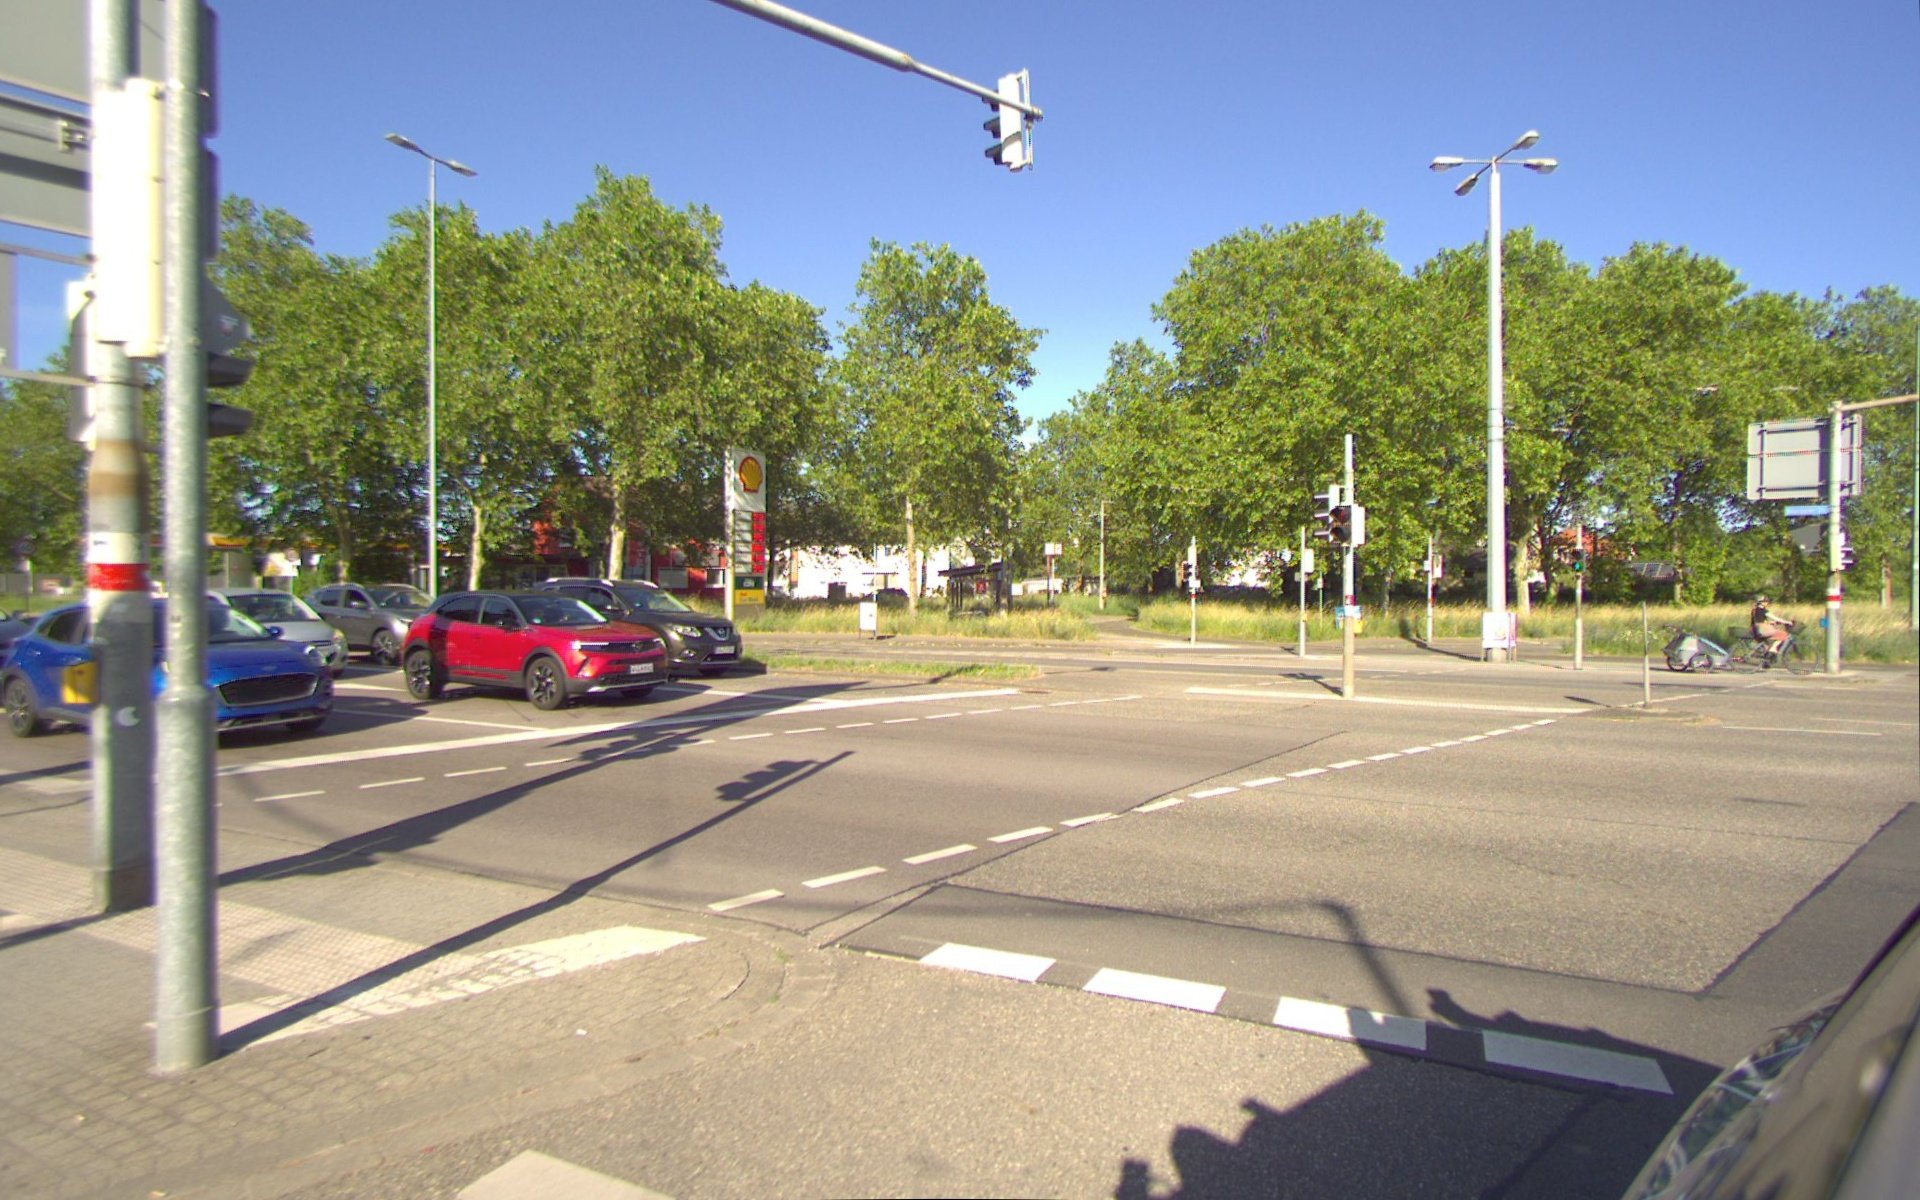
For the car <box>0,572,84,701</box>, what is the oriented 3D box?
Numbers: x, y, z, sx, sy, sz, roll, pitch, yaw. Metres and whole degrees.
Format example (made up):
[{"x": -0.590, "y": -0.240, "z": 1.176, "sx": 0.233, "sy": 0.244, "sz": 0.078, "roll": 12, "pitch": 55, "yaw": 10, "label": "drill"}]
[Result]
[{"x": -14.560, "y": 0.460, "z": 14.178, "sx": 4.130, "sy": 1.699, "sz": 1.919, "roll": 1, "pitch": 0, "yaw": 24, "label": "car"}]

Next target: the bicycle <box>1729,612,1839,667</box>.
[{"x": 17.972, "y": 0.840, "z": 22.111, "sx": 1.806, "sy": 1.133, "sz": 0.463, "roll": 1, "pitch": 0, "yaw": 32, "label": "bicycle"}]

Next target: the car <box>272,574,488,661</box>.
[{"x": -11.949, "y": 0.299, "z": 20.876, "sx": 3.958, "sy": 1.638, "sz": 1.983, "roll": 1, "pitch": 0, "yaw": 25, "label": "car"}]

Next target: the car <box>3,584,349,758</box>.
[{"x": -8.724, "y": 0.648, "z": 11.214, "sx": 3.826, "sy": 1.620, "sz": 1.695, "roll": 1, "pitch": 0, "yaw": 29, "label": "car"}]

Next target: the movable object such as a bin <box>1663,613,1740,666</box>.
[{"x": 16.290, "y": 0.843, "z": 22.270, "sx": 1.307, "sy": 1.082, "sz": 0.901, "roll": 1, "pitch": 1, "yaw": 33, "label": "movable object such as a bin"}]

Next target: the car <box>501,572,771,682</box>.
[{"x": -5.706, "y": 0.380, "z": 17.796, "sx": 4.447, "sy": 1.732, "sz": 1.905, "roll": 1, "pitch": 1, "yaw": 25, "label": "car"}]

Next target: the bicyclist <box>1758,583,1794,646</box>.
[{"x": 17.880, "y": 0.311, "z": 22.182, "sx": 0.561, "sy": 1.357, "sz": 0.505, "roll": 1, "pitch": 1, "yaw": 33, "label": "bicyclist"}]

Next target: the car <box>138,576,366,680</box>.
[{"x": -12.225, "y": 0.414, "z": 17.453, "sx": 3.824, "sy": 1.620, "sz": 1.696, "roll": 1, "pitch": 0, "yaw": 28, "label": "car"}]

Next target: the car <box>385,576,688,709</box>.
[{"x": -5.951, "y": 0.486, "z": 14.167, "sx": 4.052, "sy": 1.620, "sz": 1.799, "roll": 1, "pitch": 1, "yaw": 28, "label": "car"}]
